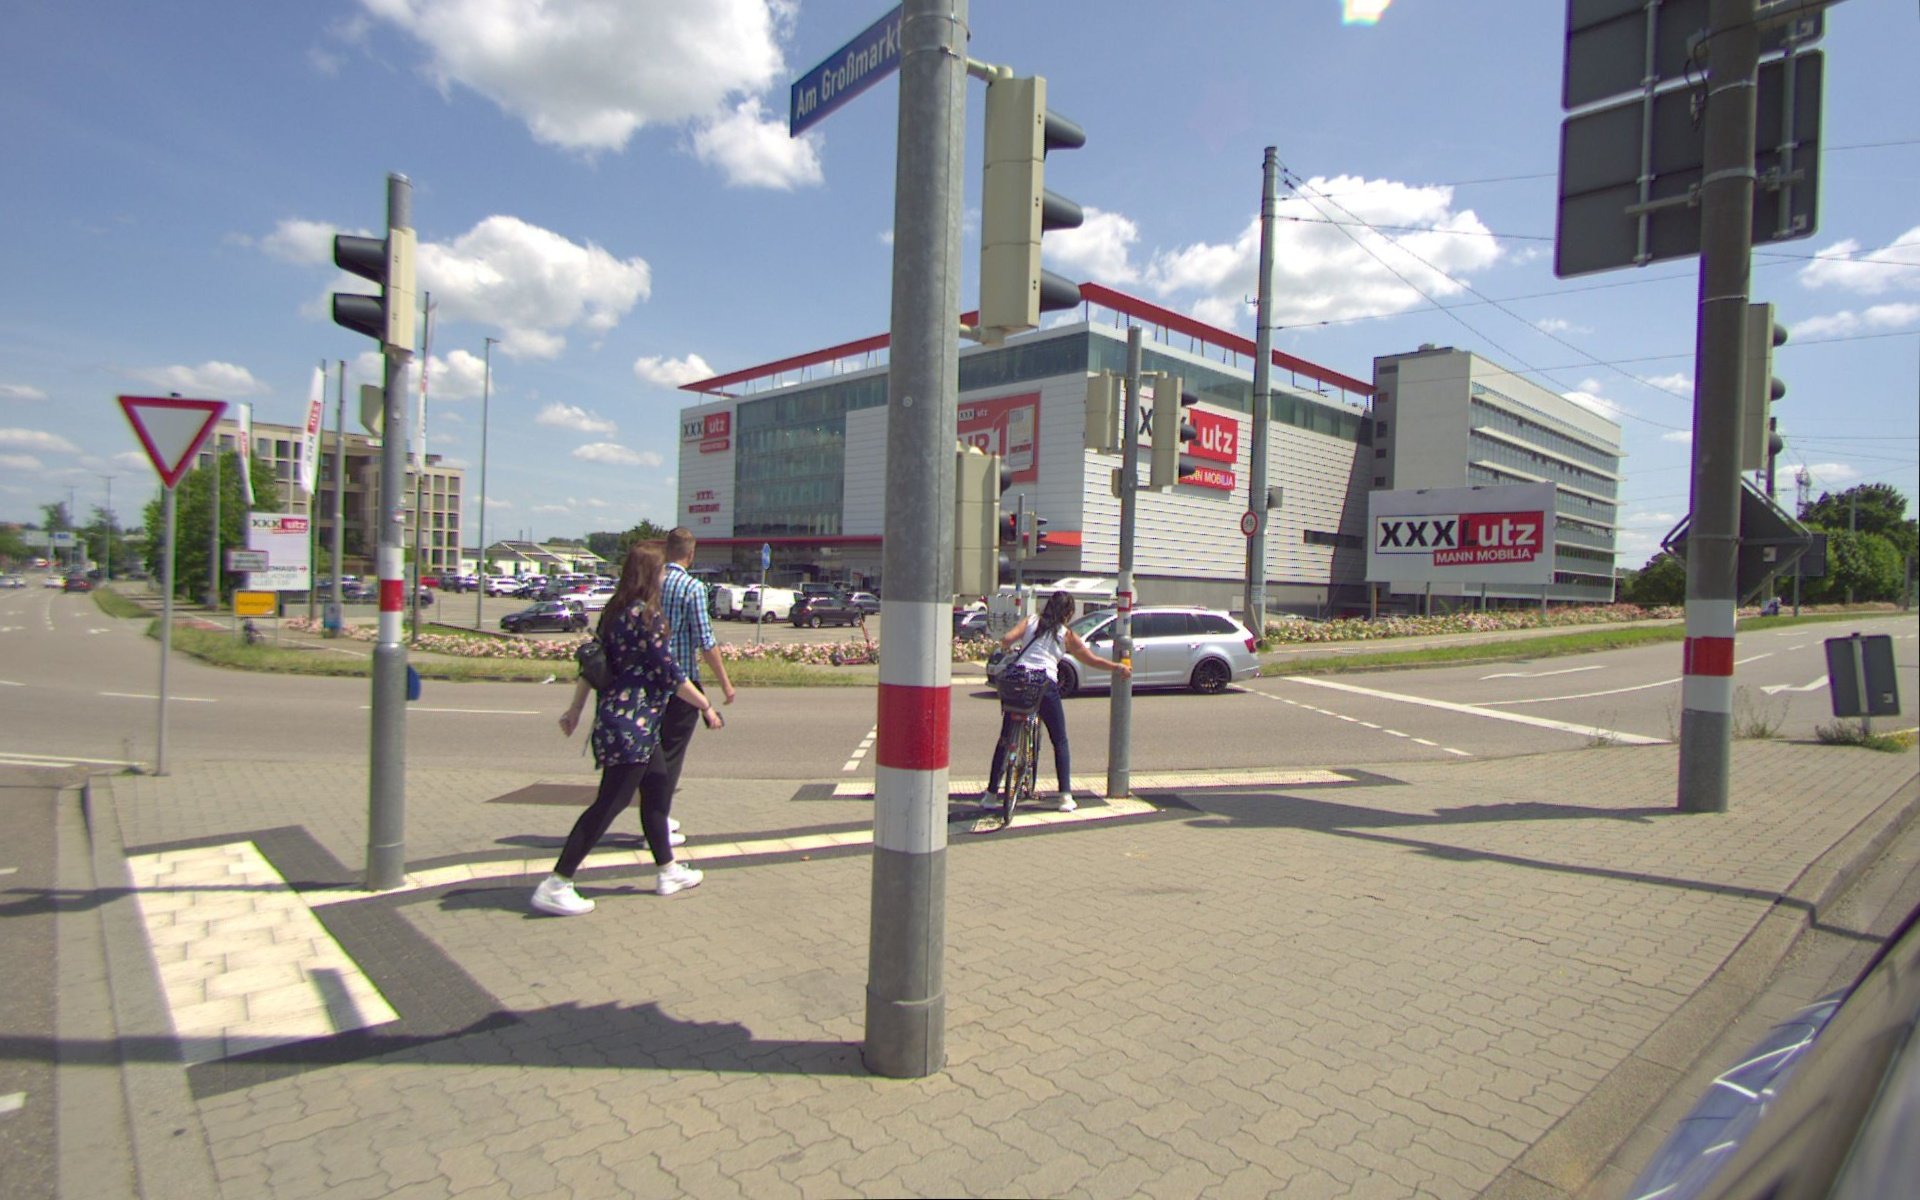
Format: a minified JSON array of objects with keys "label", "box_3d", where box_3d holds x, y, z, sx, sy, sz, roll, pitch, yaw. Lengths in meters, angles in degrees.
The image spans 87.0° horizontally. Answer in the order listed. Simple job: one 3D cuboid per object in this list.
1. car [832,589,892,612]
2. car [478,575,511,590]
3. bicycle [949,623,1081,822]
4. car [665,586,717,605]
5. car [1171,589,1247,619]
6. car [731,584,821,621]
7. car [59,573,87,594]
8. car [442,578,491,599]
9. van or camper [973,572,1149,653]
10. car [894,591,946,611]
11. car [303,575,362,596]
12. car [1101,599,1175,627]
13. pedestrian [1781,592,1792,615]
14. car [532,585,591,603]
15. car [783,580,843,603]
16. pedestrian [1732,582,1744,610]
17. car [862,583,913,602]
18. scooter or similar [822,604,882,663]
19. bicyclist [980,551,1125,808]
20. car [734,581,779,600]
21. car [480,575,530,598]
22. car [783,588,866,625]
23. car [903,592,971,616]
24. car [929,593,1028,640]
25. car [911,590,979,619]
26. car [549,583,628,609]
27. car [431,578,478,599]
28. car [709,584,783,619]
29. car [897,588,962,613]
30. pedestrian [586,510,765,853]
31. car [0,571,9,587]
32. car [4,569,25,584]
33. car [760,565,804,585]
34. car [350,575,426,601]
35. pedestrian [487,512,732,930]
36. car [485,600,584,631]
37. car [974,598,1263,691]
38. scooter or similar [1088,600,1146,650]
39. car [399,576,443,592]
[{"label":"car","box_3d":[-6.793,0.007,70.398,3.931,1.545,1.647,0,1,-42]},{"label":"car","box_3d":[-56.951,-2.116,123.882,3.323,1.828,1.699,0,0,-42]},{"label":"bicycle","box_3d":[0.378,0.788,7.264,0.816,1.177,1.878,0,0,2]},{"label":"car","box_3d":[-23.527,-0.396,88.517,3.931,1.672,1.996,0,1,-42]},{"label":"car","box_3d":[13.757,0.211,55.830,4.443,1.583,1.996,0,1,-43]},{"label":"car","box_3d":[-10.788,0.110,59.562,4.880,2.039,1.996,-1,1,-42]},{"label":"car","box_3d":[-86.982,-1.587,99.236,1.966,2.039,3.991,0,1,-43]},{"label":"car","box_3d":[-48.796,-1.094,100.147,3.932,2.039,1.996,0,1,-43]},{"label":"van or camper","box_3d":[4.171,0.403,40.534,7.483,2.983,2.712,-1,1,-42]},{"label":"car","box_3d":[-3.482,0.038,89.596,4.446,1.714,1.995,0,1,-45]},{"label":"car","box_3d":[-52.444,-1.182,84.585,3.929,1.705,1.998,0,0,-40]},{"label":"car","box_3d":[10.472,0.732,59.344,4.443,1.574,1.996,0,1,-43]},{"label":"pedestrian","box_3d":[60.161,0.260,73.668,0.623,1.676,0.598,0,0,-44]},{"label":"car","box_3d":[-32.638,-0.490,82.961,4.181,1.430,1.858,0,1,-41]},{"label":"car","box_3d":[-11.836,-0.675,81.660,4.443,1.756,1.996,0,0,-43]},{"label":"pedestrian","box_3d":[50.910,-0.244,66.226,0.623,1.816,0.517,0,0,-44]},{"label":"car","box_3d":[-6.640,-0.667,92.979,4.446,1.714,1.995,0,1,-45]},{"label":"scooter or similar","box_3d":[-2.429,0.740,22.816,1.253,1.307,0.481,0,0,-26]},{"label":"bicyclist","box_3d":[0.683,0.537,7.321,0.808,1.722,0.792,-1,-1,26]},{"label":"car","box_3d":[-18.098,-0.864,90.049,3.668,1.622,1.690,1,0,-44]},{"label":"car","box_3d":[-41.263,-1.239,91.829,3.933,2.039,1.542,0,0,-43]},{"label":"car","box_3d":[-7.464,0.329,55.833,4.410,1.936,1.588,0,1,-42]},{"label":"car","box_3d":[-1.450,0.240,65.128,4.184,1.430,1.857,-1,1,-43]},{"label":"car","box_3d":[0.877,0.723,46.938,4.375,2.039,1.997,0,1,-41]},{"label":"car","box_3d":[-0.998,0.290,68.782,4.443,1.918,1.996,0,0,-43]},{"label":"car","box_3d":[-25.480,-0.308,69.580,4.783,1.723,1.852,0,0,-40]},{"label":"car","box_3d":[-51.844,-1.175,103.811,3.932,2.039,1.996,0,1,-42]},{"label":"car","box_3d":[-12.877,0.039,60.945,3.932,2.039,1.996,-1,1,-42]},{"label":"car","box_3d":[-2.126,0.020,71.710,4.443,1.756,1.996,0,0,-43]},{"label":"pedestrian","box_3d":[-1.730,0.444,6.137,0.783,1.888,0.805,0,0,-40]},{"label":"car","box_3d":[-102.129,-2.228,107.438,1.731,1.632,3.541,0,1,-43]},{"label":"car","box_3d":[-109.549,-2.727,117.268,1.731,1.632,3.541,0,1,-43]},{"label":"car","box_3d":[-18.792,-2.586,106.862,4.213,2.039,1.847,-1,0,-42]},{"label":"car","box_3d":[-38.241,-0.793,67.682,1.994,1.705,4.058,0,0,44]},{"label":"pedestrian","box_3d":[-1.664,0.511,4.856,0.799,1.782,0.790,0,0,29]},{"label":"car","box_3d":[-19.935,0.700,47.493,3.877,1.393,1.850,0,1,-43]},{"label":"car","box_3d":[2.568,0.701,16.794,4.367,1.416,1.806,0,-1,-13]},{"label":"scooter or similar","box_3d":[3.850,0.604,24.842,1.252,1.140,0.481,-3,1,-15]},{"label":"car","box_3d":[-59.450,-1.804,111.630,3.933,1.749,1.734,-1,1,-43]}]
